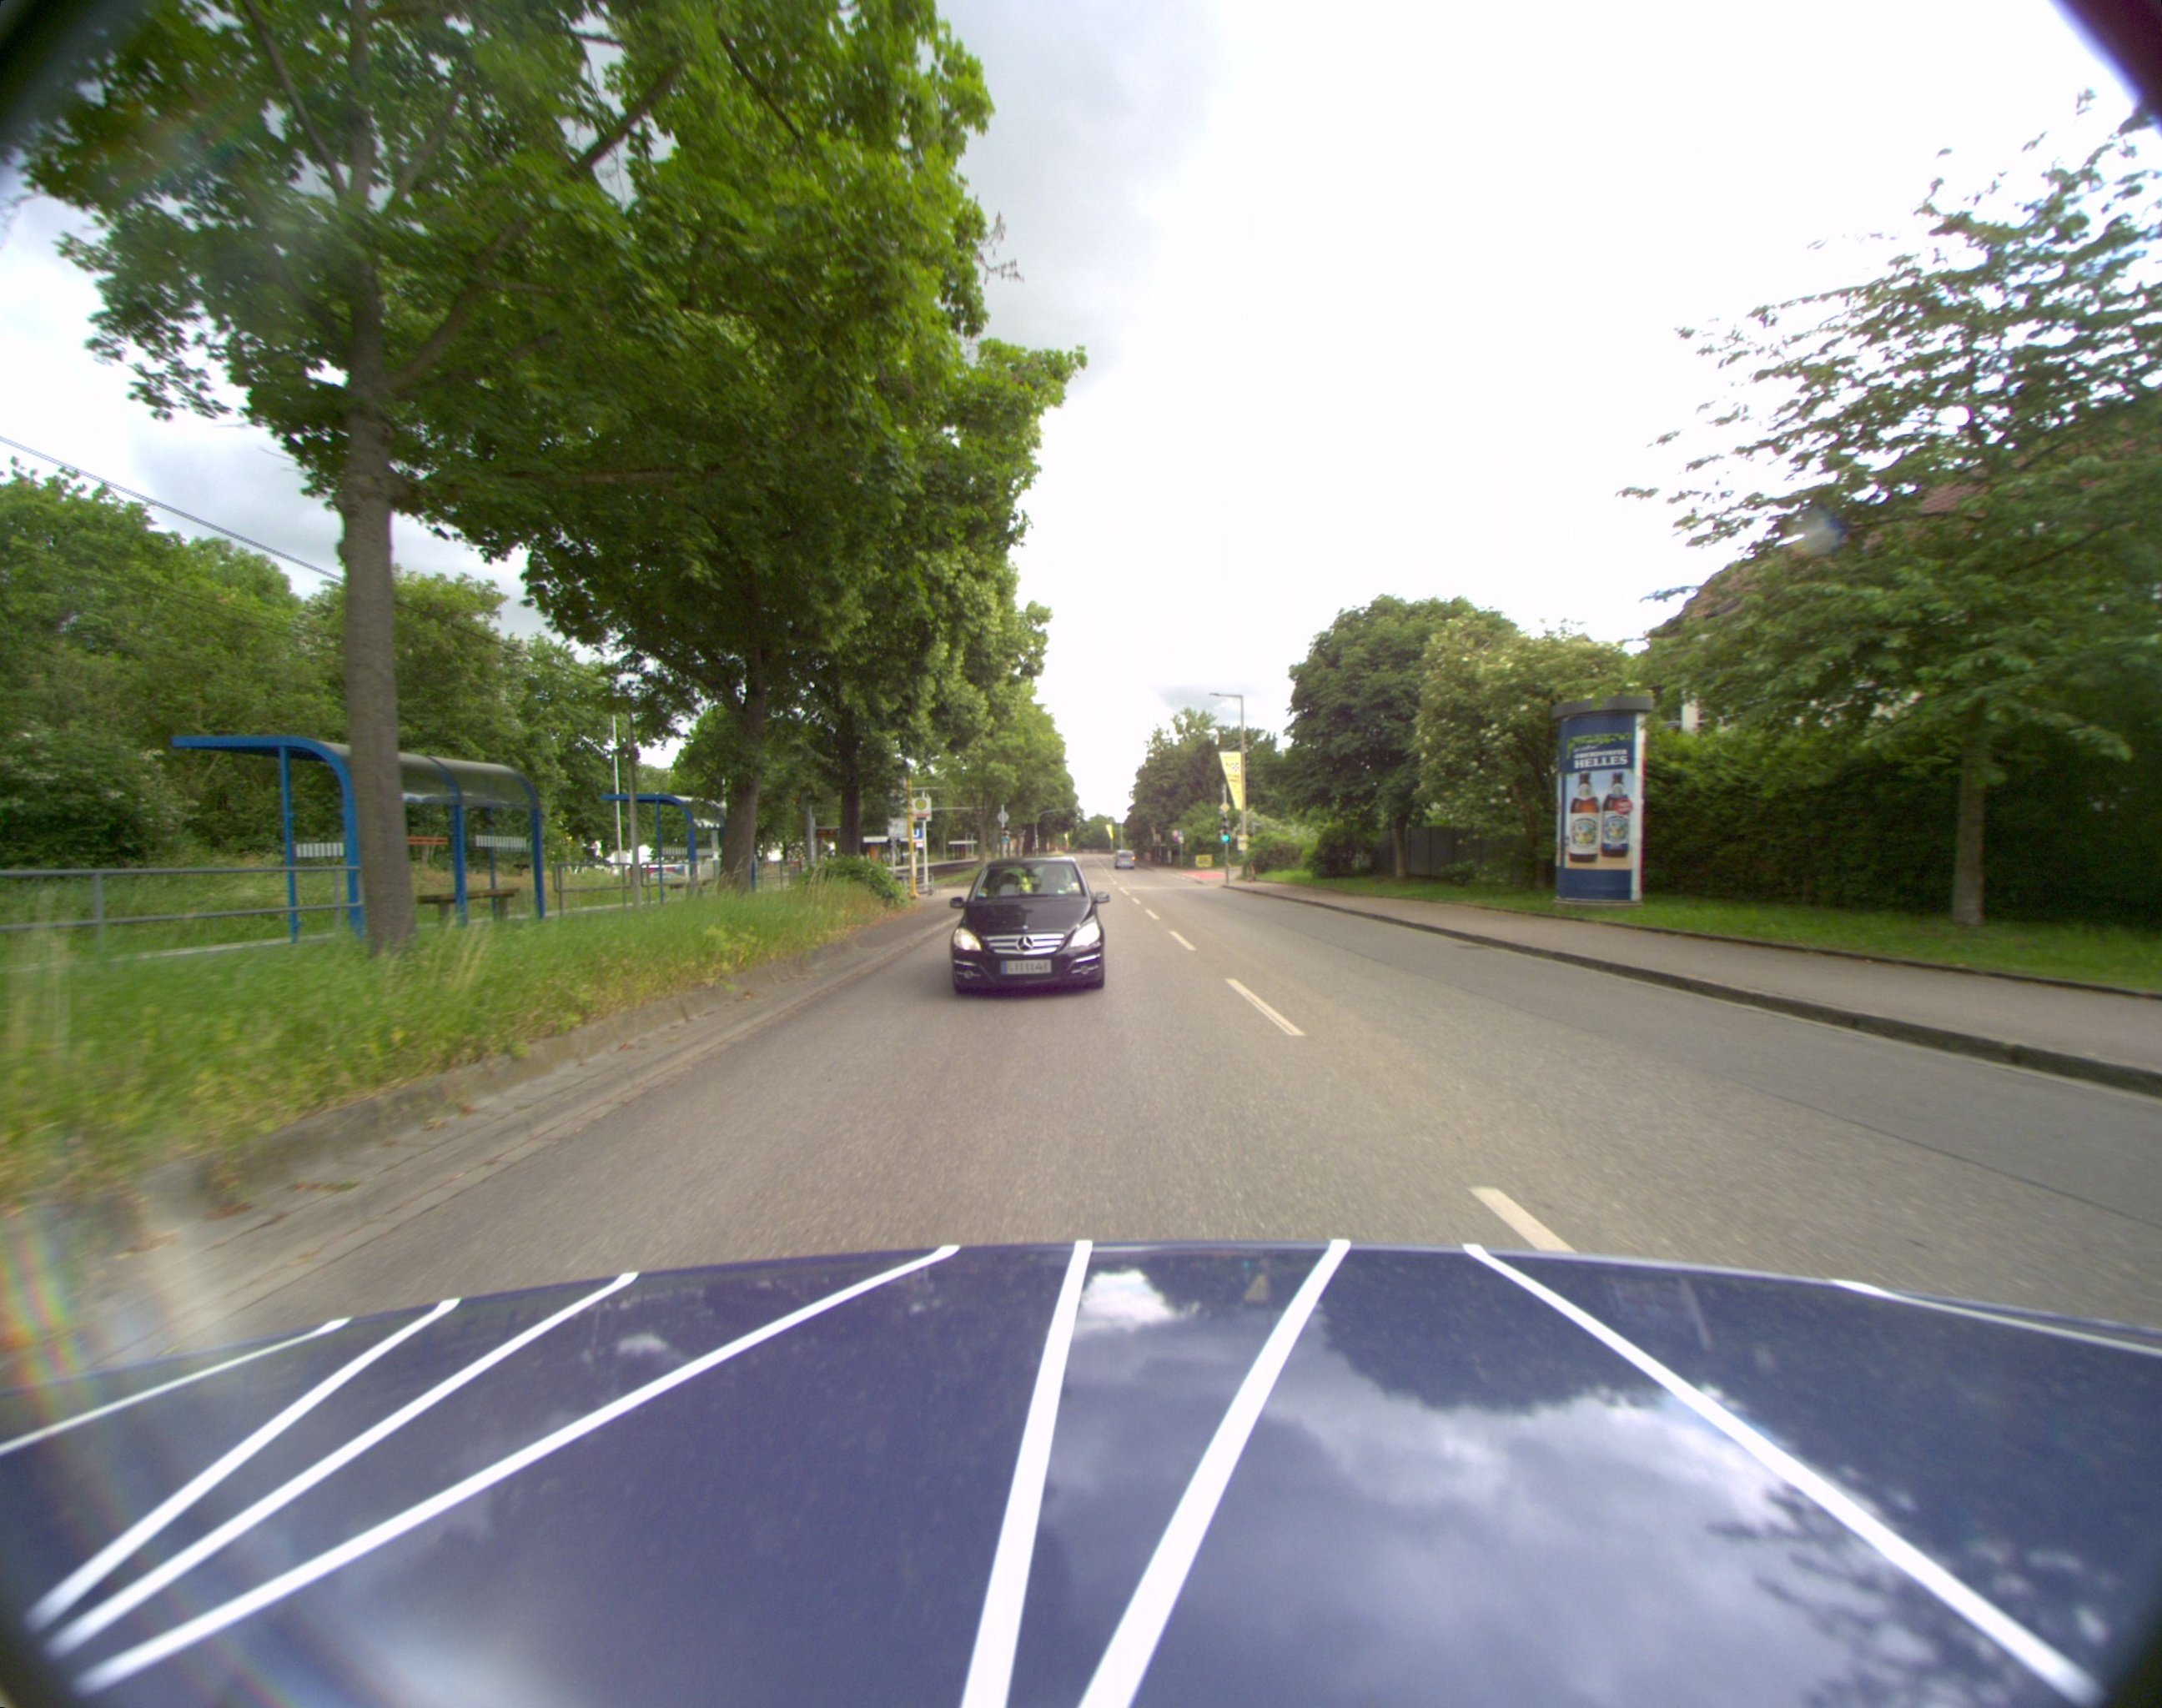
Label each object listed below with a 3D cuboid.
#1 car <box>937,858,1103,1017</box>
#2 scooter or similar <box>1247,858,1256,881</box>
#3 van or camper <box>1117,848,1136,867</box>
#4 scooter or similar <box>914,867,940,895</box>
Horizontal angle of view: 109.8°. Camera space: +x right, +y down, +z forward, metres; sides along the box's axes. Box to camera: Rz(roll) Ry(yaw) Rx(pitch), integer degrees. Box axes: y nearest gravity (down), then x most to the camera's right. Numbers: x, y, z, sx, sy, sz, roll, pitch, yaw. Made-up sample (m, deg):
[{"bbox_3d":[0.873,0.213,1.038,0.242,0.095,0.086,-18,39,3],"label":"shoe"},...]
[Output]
[{"bbox_3d":[-0.658,0.897,10.309,1.683,1.565,4.482,-3,0,0],"label":"car"},{"bbox_3d":[9.009,0.803,40.216,0.253,1.209,1.280,-1,0,5],"label":"scooter or similar"},{"bbox_3d":[4.817,0.334,81.301,1.917,1.888,4.812,-1,0,3],"label":"van or camper"},{"bbox_3d":[-6.873,1.213,33.992,1.088,1.201,0.364,-2,1,-7],"label":"scooter or similar"}]
